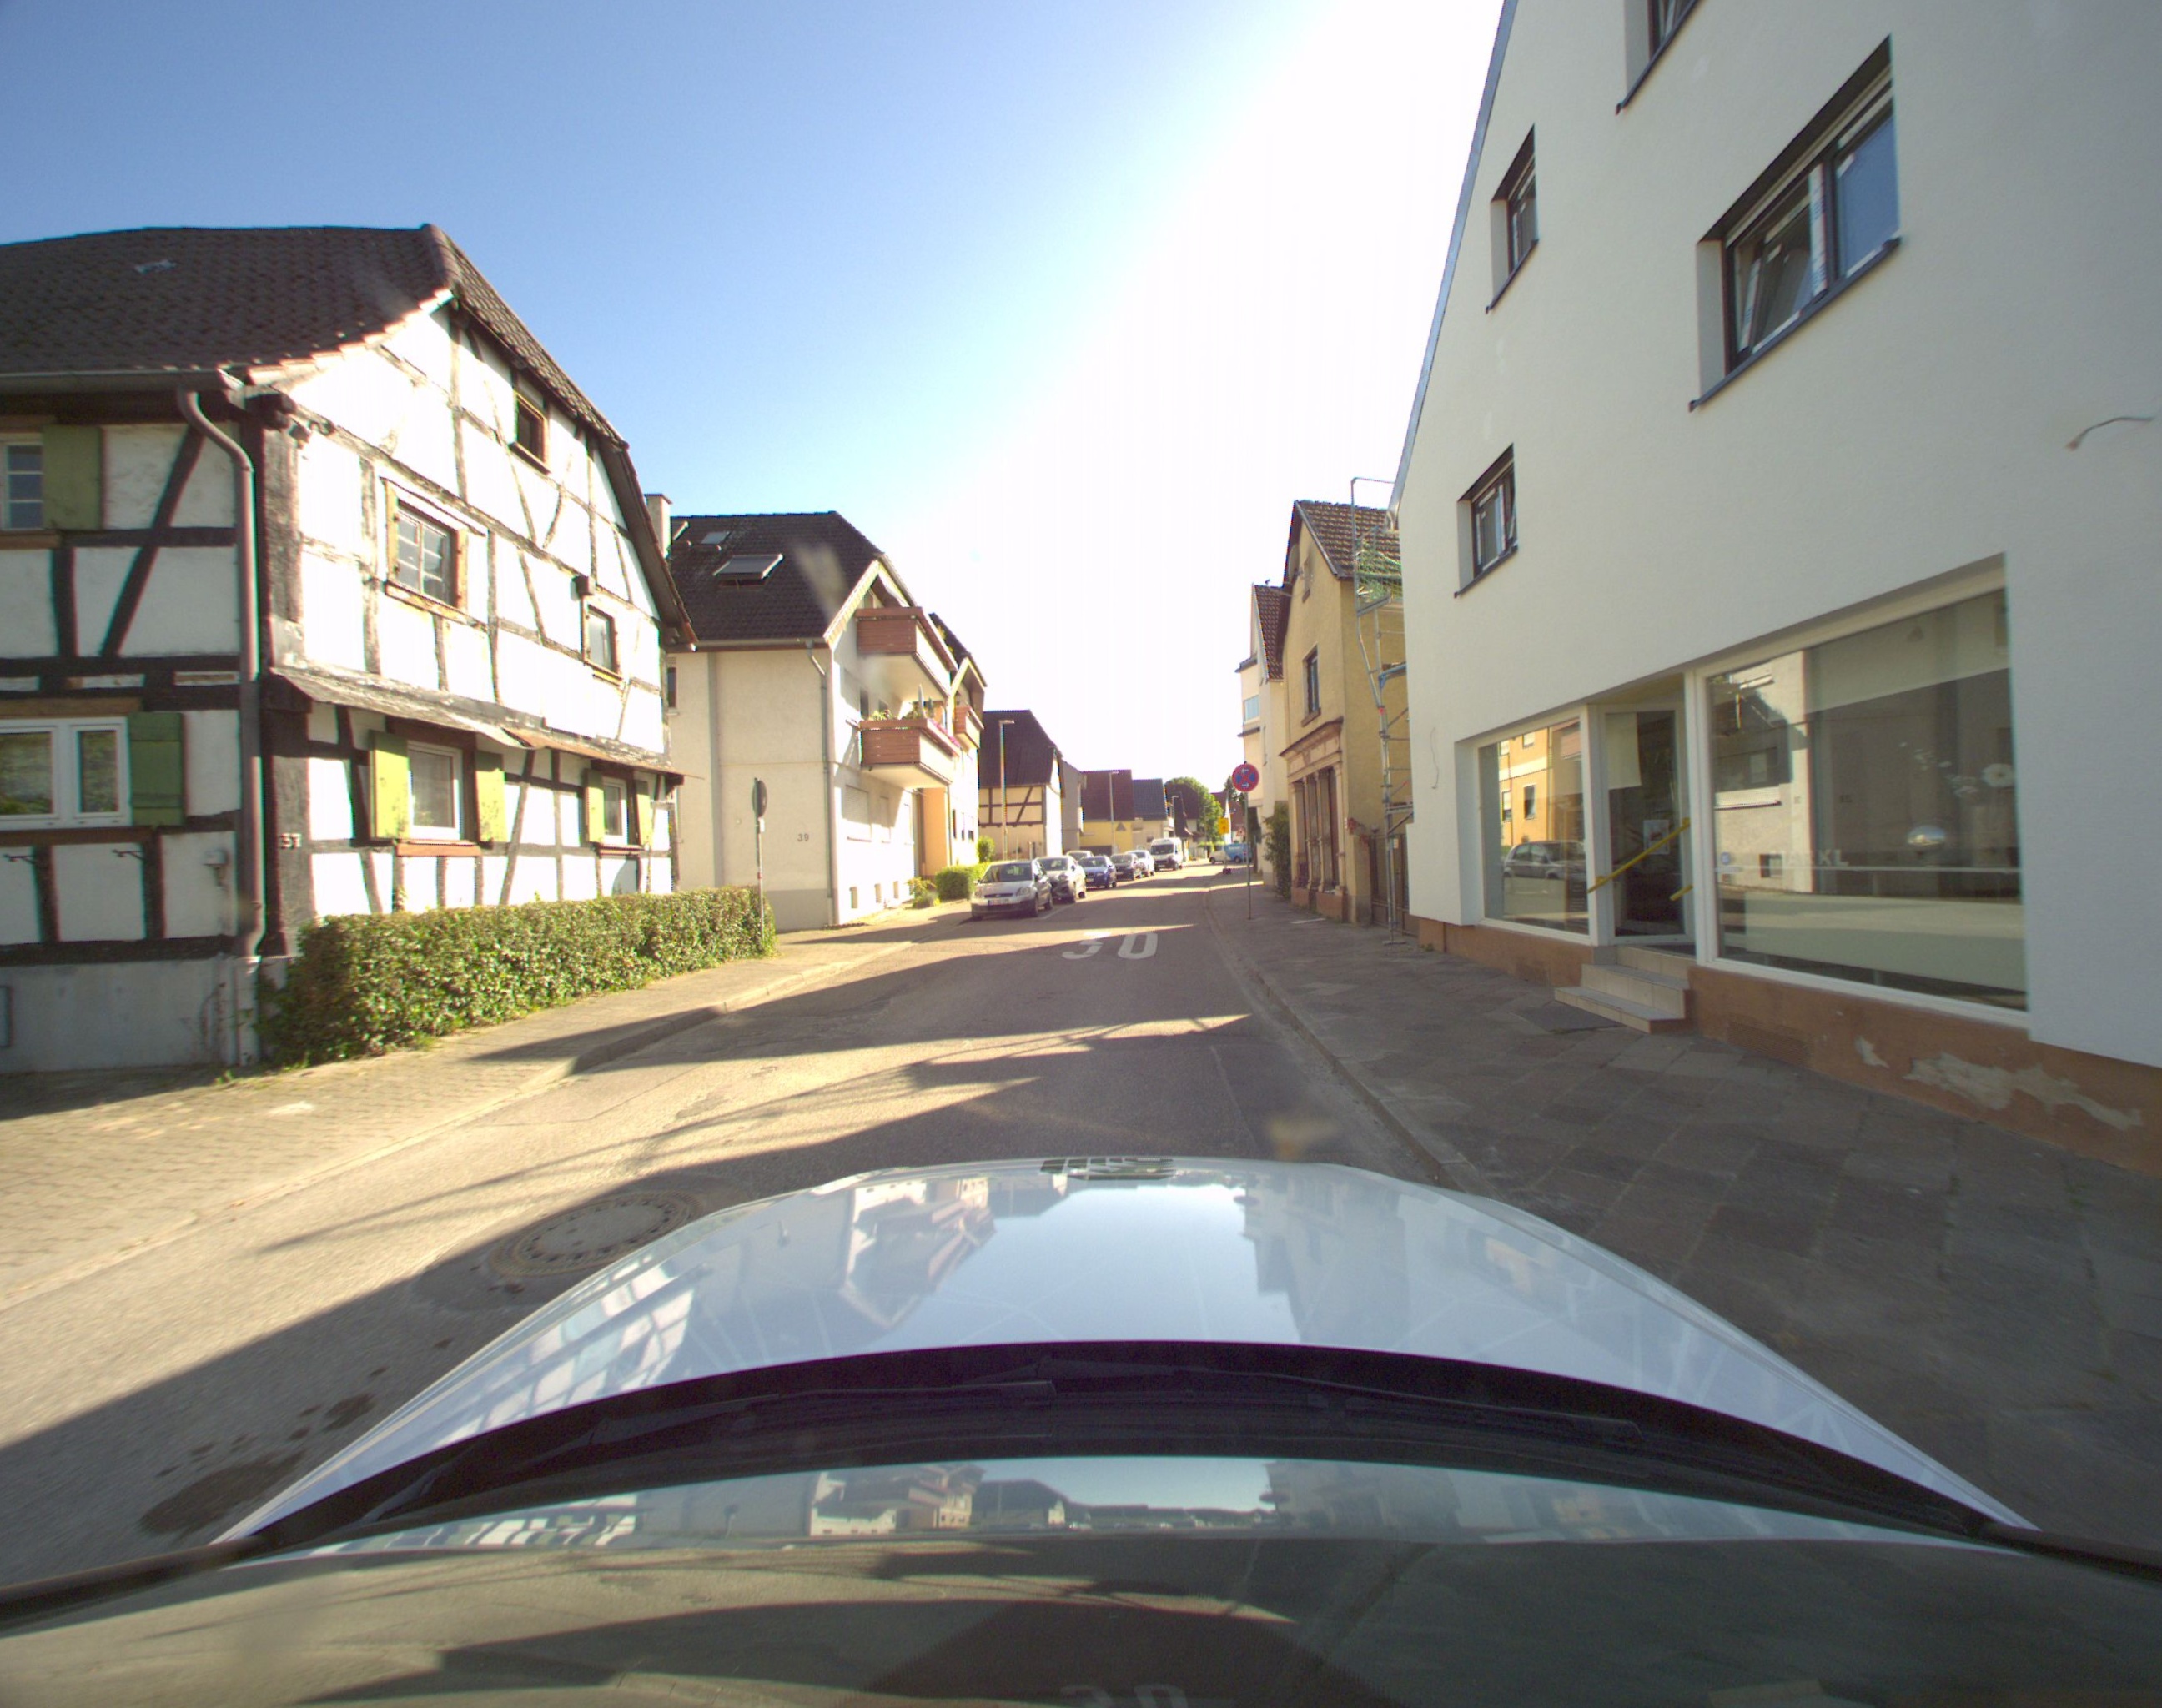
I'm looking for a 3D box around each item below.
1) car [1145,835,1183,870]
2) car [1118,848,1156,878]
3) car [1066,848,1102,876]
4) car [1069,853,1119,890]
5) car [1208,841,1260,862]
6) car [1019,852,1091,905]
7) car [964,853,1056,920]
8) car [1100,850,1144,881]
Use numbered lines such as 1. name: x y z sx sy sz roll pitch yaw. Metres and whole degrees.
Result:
1. car: 6.393 -0.146 62.063 2.062 2.394 5.227 -4 0 13
2. car: 3.437 0.510 49.486 1.662 1.572 3.978 -4 0 12
3. car: 0.225 0.431 49.701 1.712 1.596 4.024 0 1 7
4. car: 0.626 0.723 35.680 1.629 1.441 4.084 -3 -1 8
5. car: 14.650 -0.224 78.143 1.936 1.801 4.726 -4 1 -37
6. car: -0.769 0.750 26.999 1.664 1.506 4.103 -3 0 7
7. car: -1.790 0.797 21.727 1.622 1.506 3.860 -3 0 6
8. car: 2.326 0.604 45.219 1.692 1.518 4.136 -4 -1 12
